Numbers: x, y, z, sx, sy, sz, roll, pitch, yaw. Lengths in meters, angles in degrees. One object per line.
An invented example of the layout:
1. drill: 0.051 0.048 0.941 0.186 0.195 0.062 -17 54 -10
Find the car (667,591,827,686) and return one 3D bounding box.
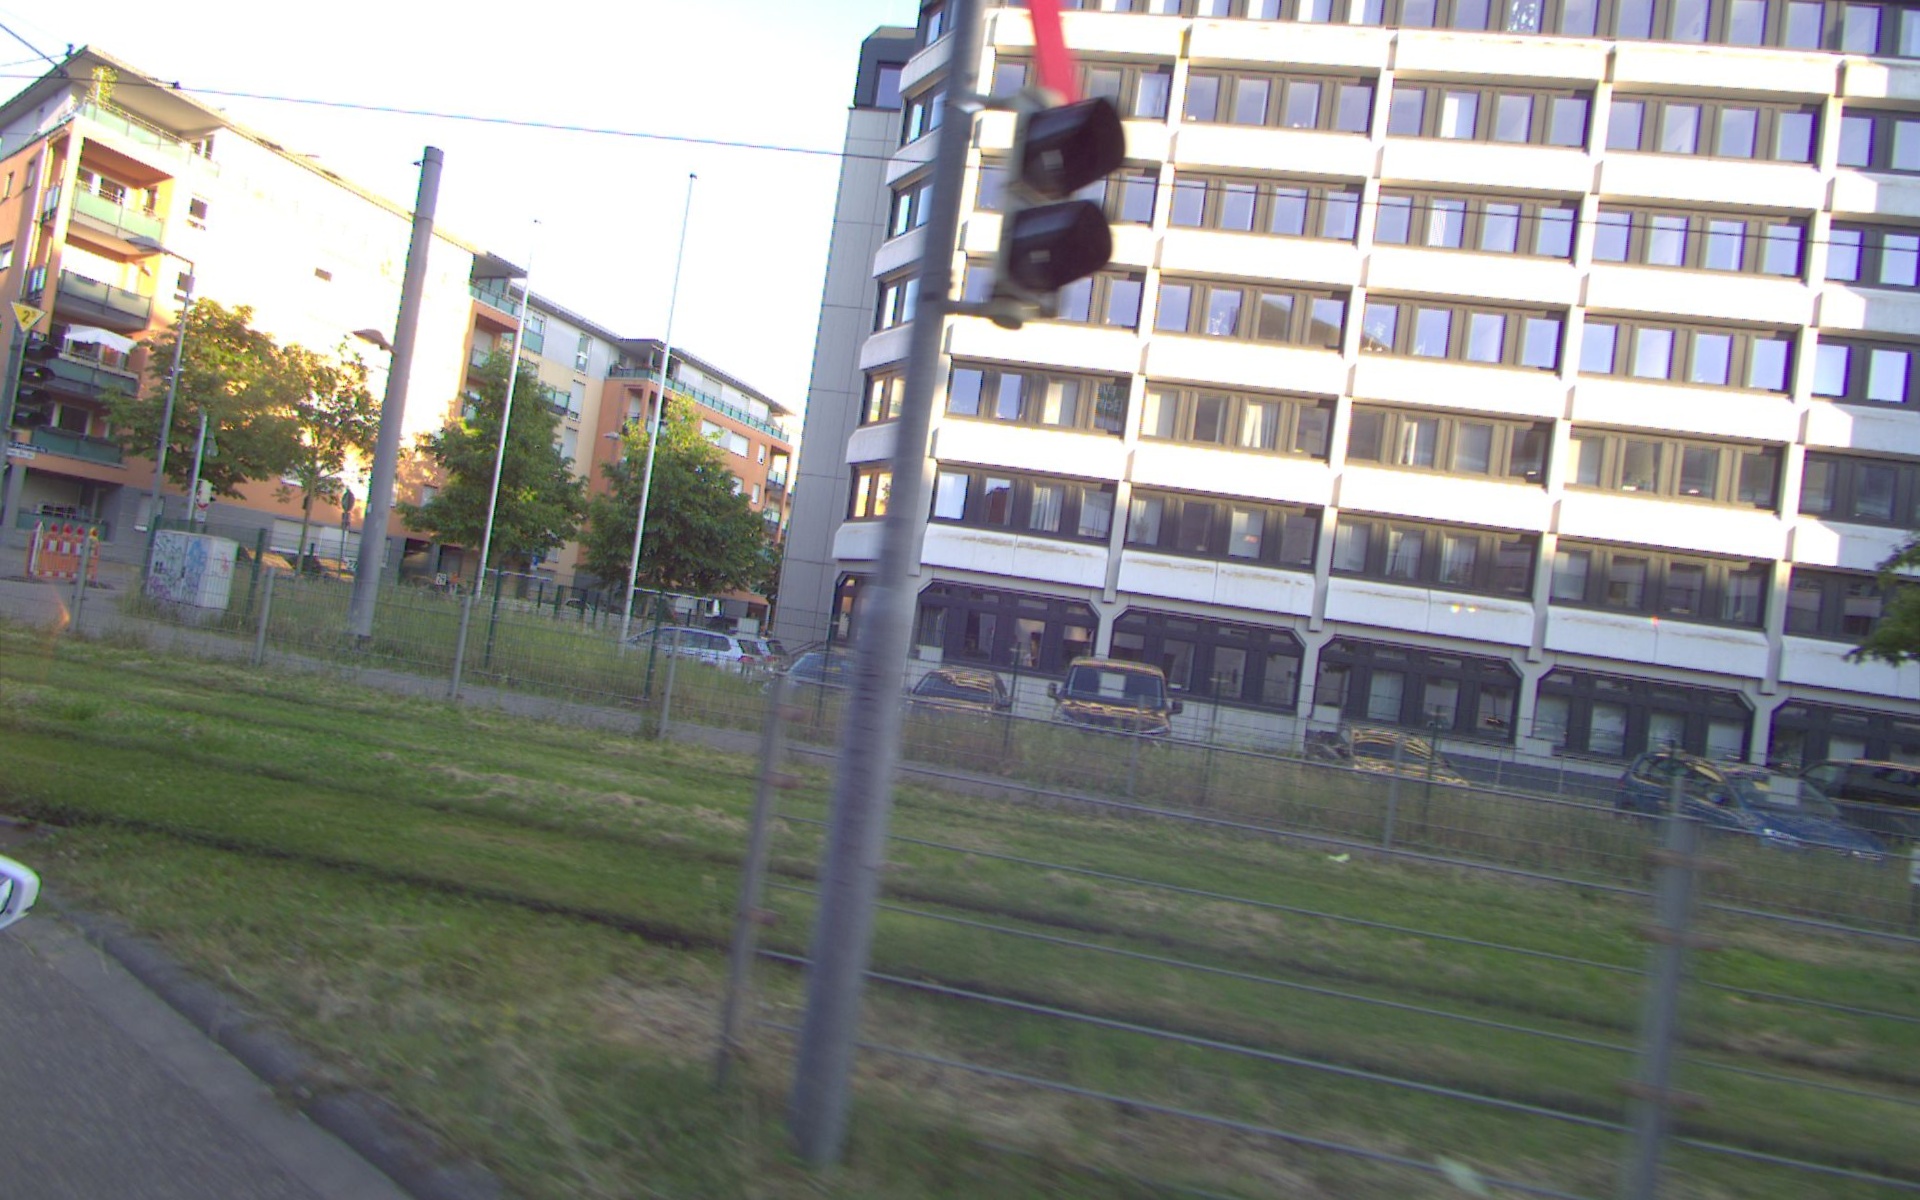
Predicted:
1. car: -5.987 1.072 28.183 3.935 2.035 1.998 7 -3 34

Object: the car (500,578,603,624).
1. car: -21.129 0.042 52.005 4.727 1.612 2.002 7 -3 23

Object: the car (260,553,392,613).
1. car: -24.655 -0.669 39.108 4.729 1.612 2.001 7 -3 26

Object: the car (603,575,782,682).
1. car: -6.711 0.693 25.193 3.935 2.035 1.998 7 -3 34

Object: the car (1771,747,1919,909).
1. car: 14.459 3.465 14.880 1.962 2.035 4.008 8 -3 10

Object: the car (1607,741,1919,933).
1. car: 12.143 3.464 15.590 1.962 2.035 4.008 8 -3 10

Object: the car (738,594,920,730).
1. car: -2.321 1.223 19.090 1.962 2.035 4.008 8 -3 12

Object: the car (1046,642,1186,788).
1. car: 2.883 1.992 18.016 1.962 2.035 4.008 8 -3 12

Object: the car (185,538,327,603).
1. car: -25.537 -1.061 36.468 4.729 1.611 2.002 7 -4 26

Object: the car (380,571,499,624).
1. car: -22.584 -0.115 43.610 4.729 1.612 2.001 7 -3 26

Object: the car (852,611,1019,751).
1. car: -0.296 1.499 18.561 1.962 2.035 4.008 8 -3 12

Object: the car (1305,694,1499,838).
1. car: 7.147 2.602 16.728 1.962 1.768 4.008 8 -3 12

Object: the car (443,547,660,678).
1. car: -8.363 0.238 20.538 3.935 2.035 1.998 7 -3 34
